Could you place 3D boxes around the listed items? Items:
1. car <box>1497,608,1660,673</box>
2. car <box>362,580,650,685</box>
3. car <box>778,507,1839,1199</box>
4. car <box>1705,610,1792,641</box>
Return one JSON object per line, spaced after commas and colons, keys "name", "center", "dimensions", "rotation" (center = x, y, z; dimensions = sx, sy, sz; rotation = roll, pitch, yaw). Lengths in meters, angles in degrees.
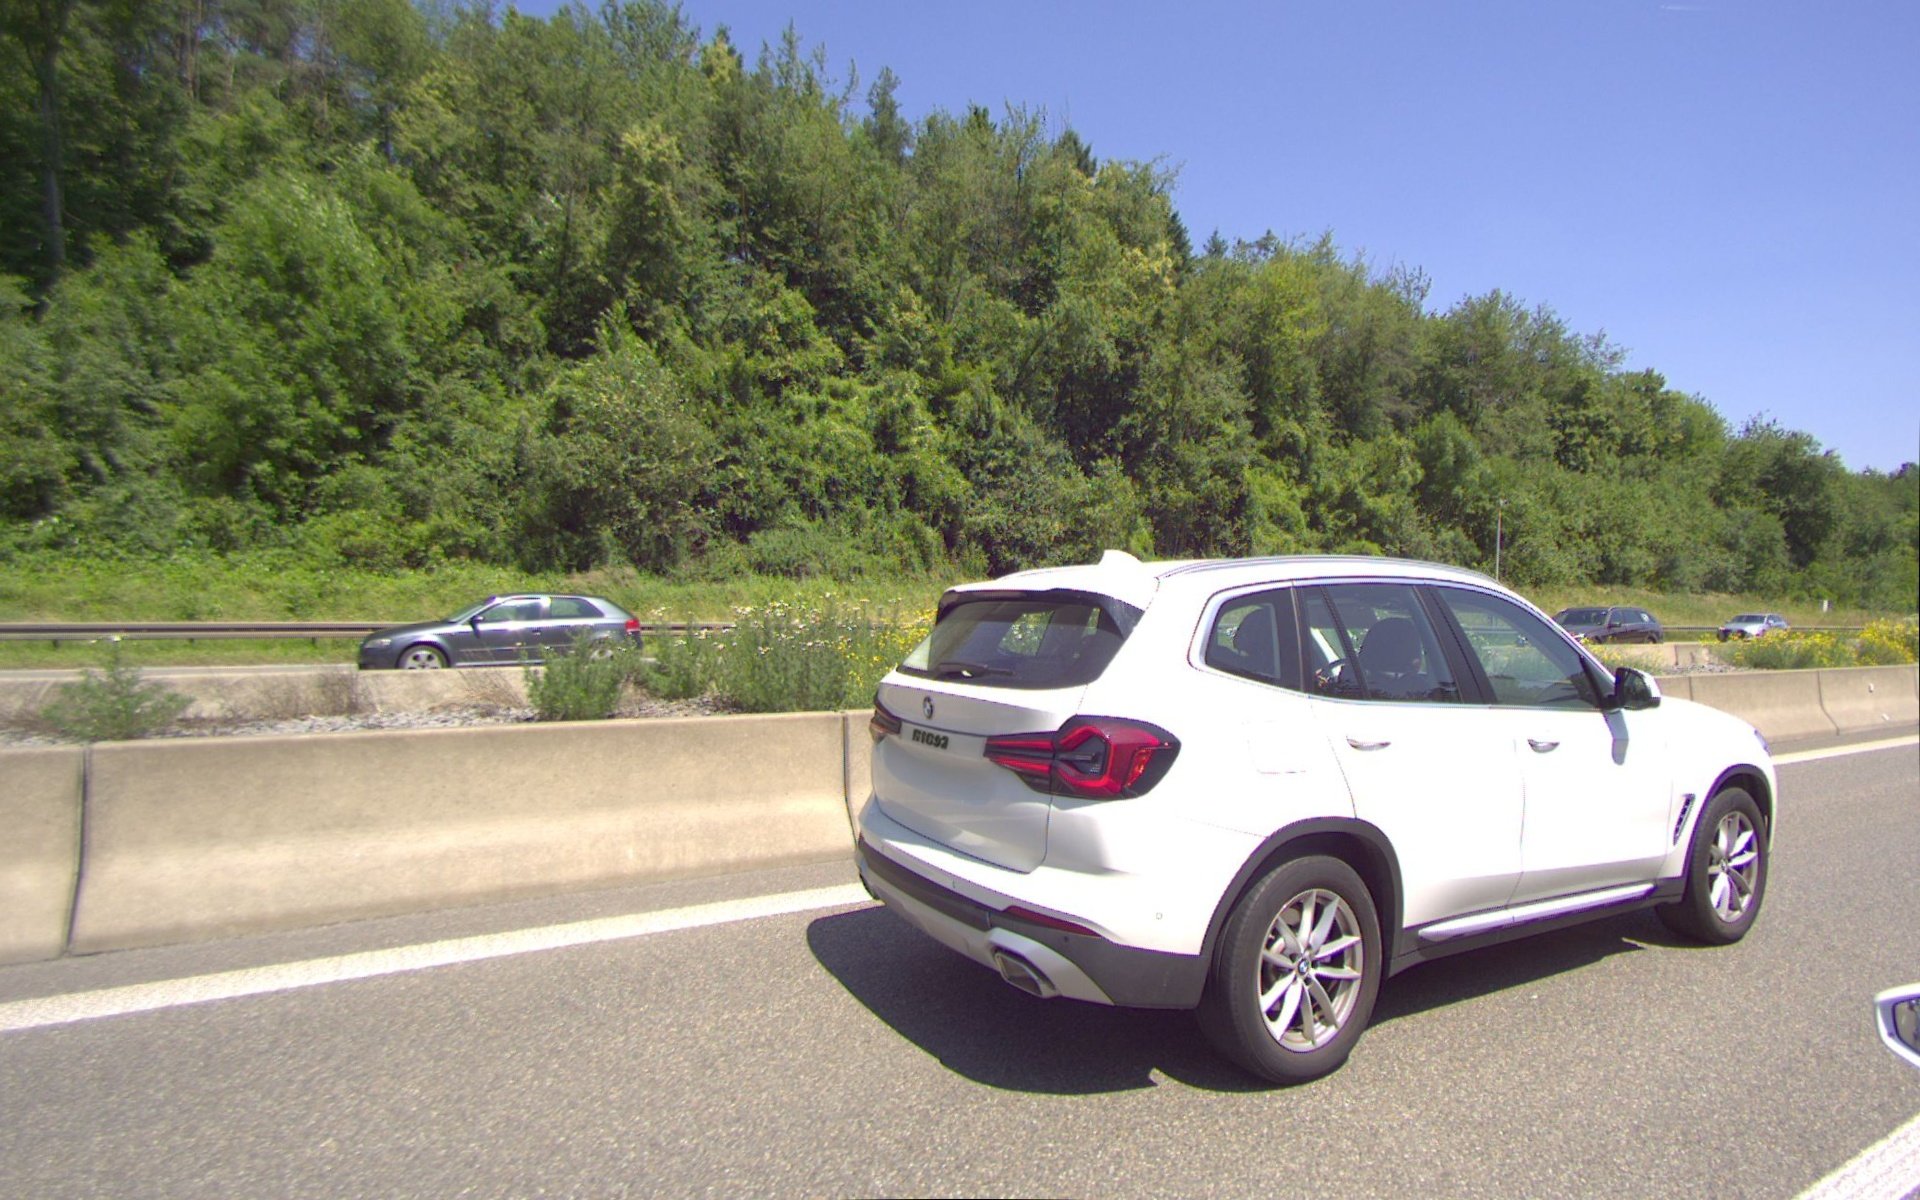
{"name": "car", "center": [16.622, 1.053, 26.964], "dimensions": [4.223, 1.608, 1.984], "rotation": [1, 0, -30]}
{"name": "car", "center": [-7.160, 0.529, 15.960], "dimensions": [3.954, 1.476, 1.779], "rotation": [2, -1, -31]}
{"name": "car", "center": [1.831, 0.675, 4.551], "dimensions": [4.899, 1.717, 1.854], "rotation": [1, 0, -31]}
{"name": "car", "center": [38.043, 1.218, 48.453], "dimensions": [4.144, 1.452, 1.983], "rotation": [1, 0, -31]}
